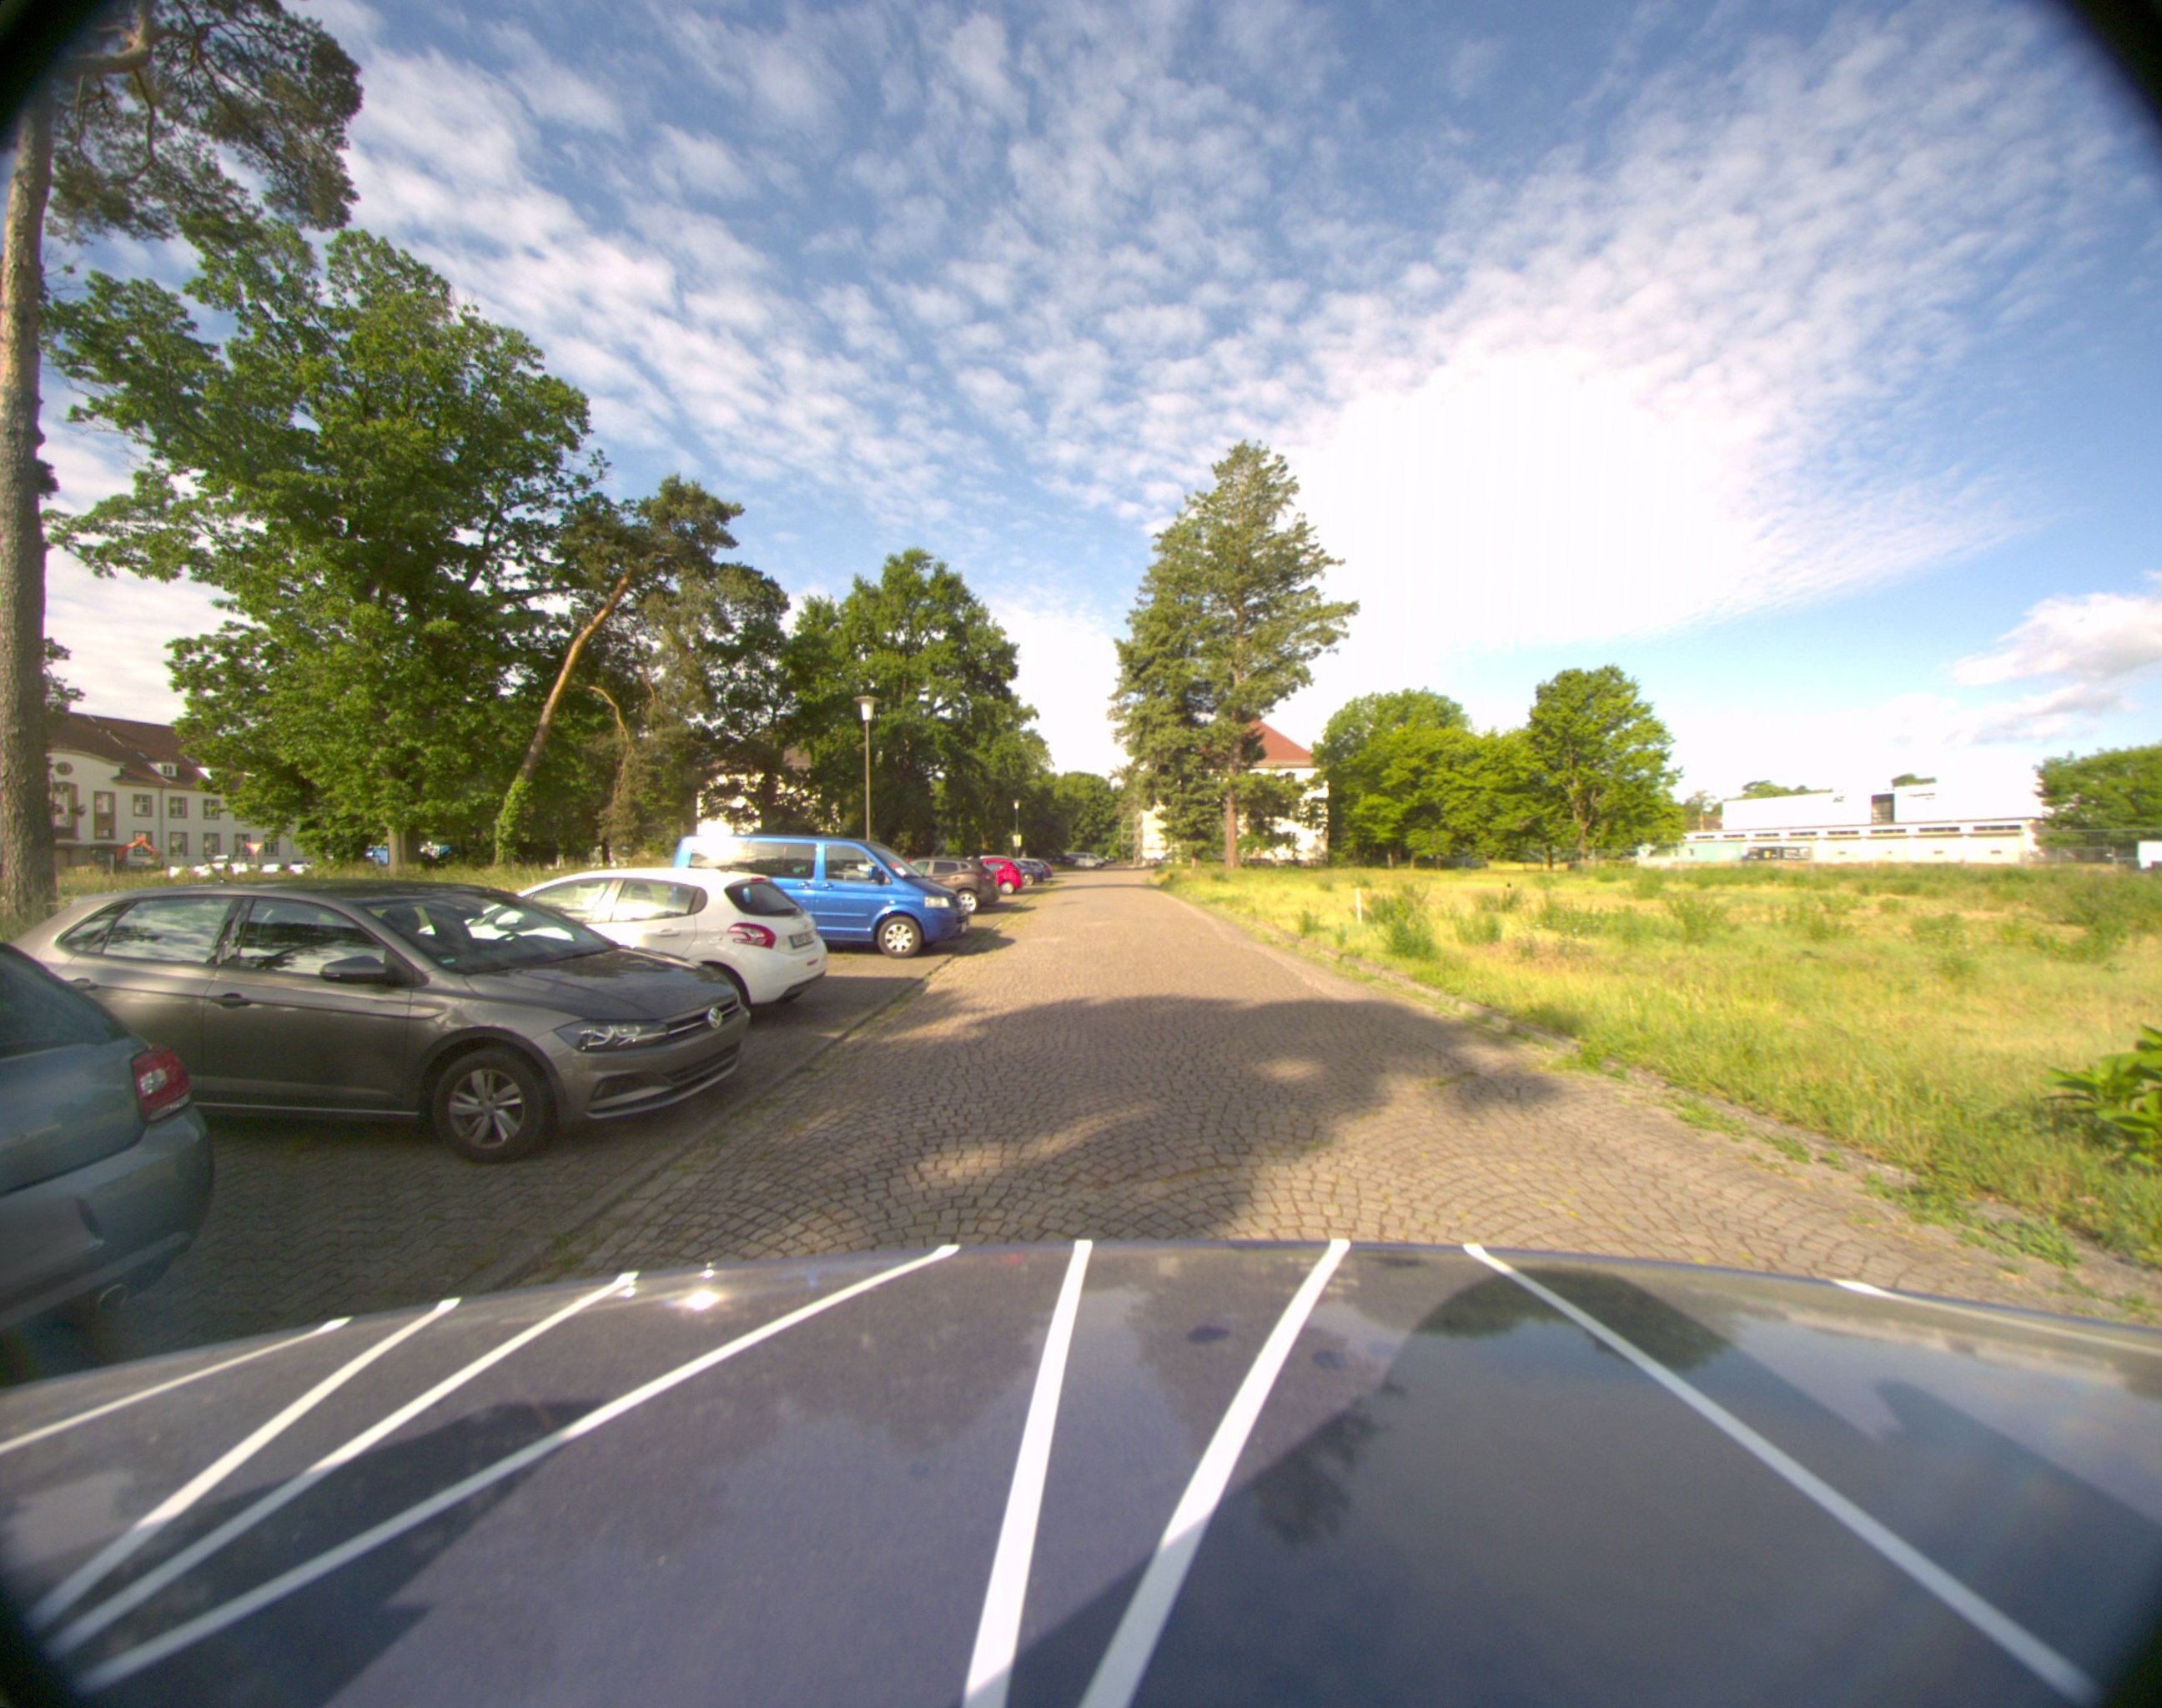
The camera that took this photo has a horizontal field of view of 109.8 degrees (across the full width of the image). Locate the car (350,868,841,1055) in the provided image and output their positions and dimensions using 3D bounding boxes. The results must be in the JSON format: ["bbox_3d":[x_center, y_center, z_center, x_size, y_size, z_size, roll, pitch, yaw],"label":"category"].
[{"bbox_3d":[-4.541,0.956,7.528,3.716,1.525,1.761,1,0,1],"label":"car"}]

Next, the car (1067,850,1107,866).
[{"bbox_3d":[0.730,0.493,95.850,4.933,2.002,1.999,1,1,-5],"label":"car"}]

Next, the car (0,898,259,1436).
[{"bbox_3d":[-4.850,0.859,1.858,3.716,1.440,1.816,1,0,1],"label":"car"}]

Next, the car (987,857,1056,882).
[{"bbox_3d":[-3.641,0.939,47.130,4.097,1.415,1.784,1,0,-1],"label":"car"}]

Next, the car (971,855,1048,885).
[{"bbox_3d":[-3.934,0.854,42.376,4.097,1.548,1.853,1,0,-1],"label":"car"}]

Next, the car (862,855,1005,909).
[{"bbox_3d":[-4.666,0.876,24.535,4.237,1.588,1.934,1,1,-2],"label":"car"}]

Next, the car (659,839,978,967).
[{"bbox_3d":[-4.282,0.766,12.977,4.710,1.924,2.000,1,1,1],"label":"car"}]

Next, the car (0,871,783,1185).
[{"bbox_3d":[-4.089,0.880,4.715,3.716,1.440,1.856,1,0,1],"label":"car"}]

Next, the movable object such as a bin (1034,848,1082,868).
[{"bbox_3d":[-2.461,0.448,82.949,4.865,2.002,2.002,-1,0,14],"label":"movable object such as a bin"}]

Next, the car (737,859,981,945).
[{"bbox_3d":[-4.407,0.934,15.599,4.408,1.568,1.939,1,0,1],"label":"car"}]

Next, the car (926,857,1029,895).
[{"bbox_3d":[-4.324,0.909,32.145,4.097,1.451,1.853,1,0,-1],"label":"car"}]

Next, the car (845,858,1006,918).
[{"bbox_3d":[-4.359,0.940,21.825,4.237,1.588,1.934,0,1,-2],"label":"car"}]

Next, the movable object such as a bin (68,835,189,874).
[{"bbox_3d":[-88.175,-0.005,70.536,6.460,3.282,2.859,-3,1,-42],"label":"movable object such as a bin"}]
